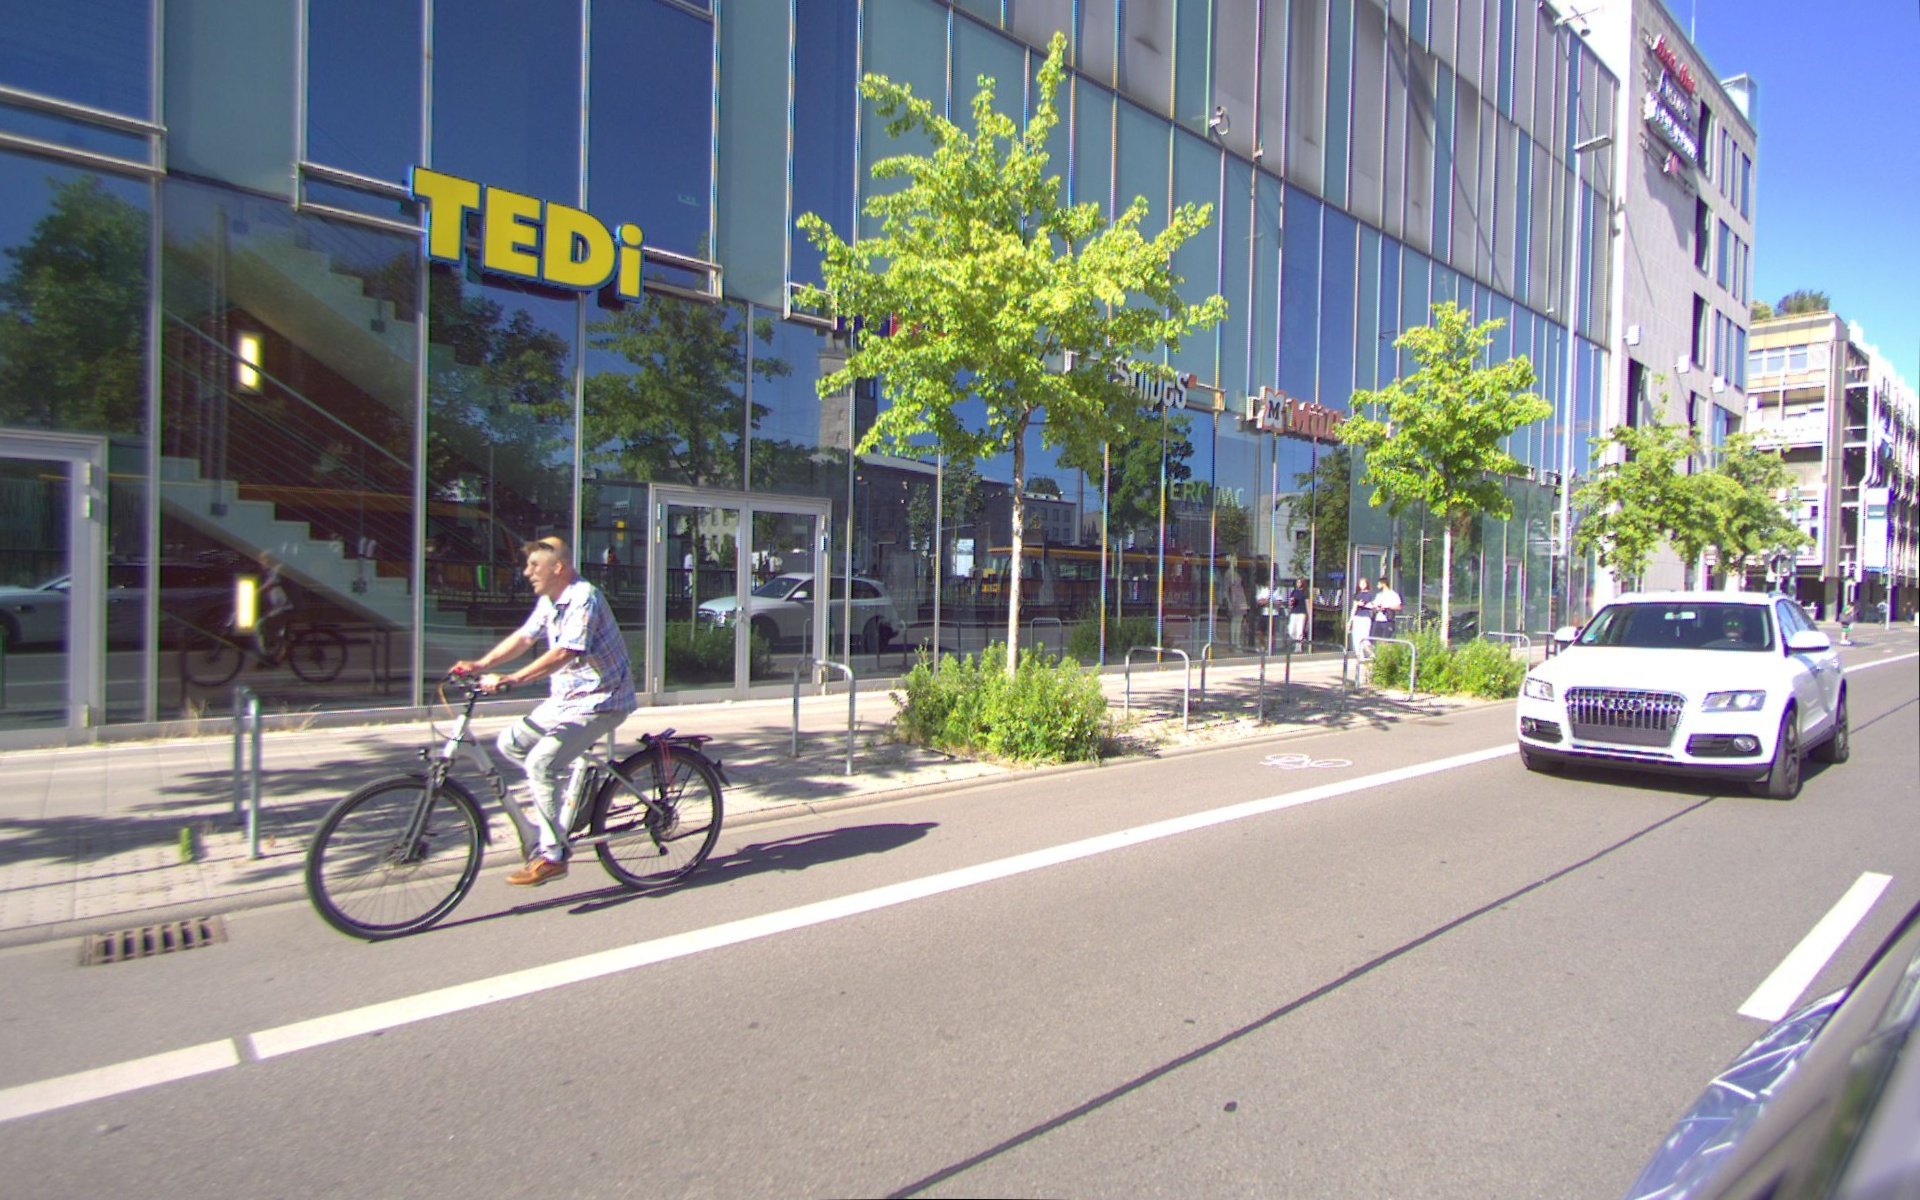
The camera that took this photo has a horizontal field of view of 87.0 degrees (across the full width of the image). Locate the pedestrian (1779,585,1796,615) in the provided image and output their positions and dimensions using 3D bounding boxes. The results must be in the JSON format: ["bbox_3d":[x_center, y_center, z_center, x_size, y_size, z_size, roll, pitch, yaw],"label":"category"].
[{"bbox_3d":[46.598,-0.021,56.994,0.659,1.632,0.519,4,3,41],"label":"pedestrian"}]

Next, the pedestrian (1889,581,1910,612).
[{"bbox_3d":[64.147,-0.240,69.092,0.945,2.039,1.064,2,1,39],"label":"pedestrian"}]

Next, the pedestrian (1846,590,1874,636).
[{"bbox_3d":[34.762,0.503,39.082,0.686,1.723,0.658,0,3,-42],"label":"pedestrian"}]

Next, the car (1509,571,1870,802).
[{"bbox_3d":[6.841,0.603,9.305,4.336,1.634,1.822,0,0,-42],"label":"car"}]

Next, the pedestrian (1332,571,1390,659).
[{"bbox_3d":[8.008,0.286,20.232,0.885,1.678,0.707,0,3,-44],"label":"pedestrian"}]

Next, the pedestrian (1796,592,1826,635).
[{"bbox_3d":[33.075,0.505,39.317,0.736,1.628,0.725,2,1,-39],"label":"pedestrian"}]

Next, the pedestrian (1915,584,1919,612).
[{"bbox_3d":[71.615,-0.148,75.143,0.946,2.039,1.063,1,1,43],"label":"pedestrian"}]

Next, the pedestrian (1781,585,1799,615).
[{"bbox_3d":[46.277,-0.024,56.428,0.659,1.632,0.519,4,3,41],"label":"pedestrian"}]

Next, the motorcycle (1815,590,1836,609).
[{"bbox_3d":[65.050,-0.036,76.028,2.084,1.459,0.825,0,1,-40],"label":"motorcycle"}]

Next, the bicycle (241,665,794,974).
[{"bbox_3d":[-1.951,0.874,4.788,2.295,0.996,0.729,0,-1,-44],"label":"bicycle"}]

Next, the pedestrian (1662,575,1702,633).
[{"bbox_3d":[23.517,0.126,32.975,1.047,1.823,0.729,0,3,-40],"label":"pedestrian"}]

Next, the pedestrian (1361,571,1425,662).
[{"bbox_3d":[8.271,0.301,19.341,0.885,1.679,0.821,0,1,-45],"label":"pedestrian"}]

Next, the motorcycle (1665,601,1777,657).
[{"bbox_3d":[20.337,0.737,27.097,0.886,1.340,2.196,0,2,-36],"label":"motorcycle"}]

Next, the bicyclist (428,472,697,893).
[{"bbox_3d":[-1.883,0.332,4.820,0.981,1.758,0.725,0,1,-44],"label":"bicyclist"}]
